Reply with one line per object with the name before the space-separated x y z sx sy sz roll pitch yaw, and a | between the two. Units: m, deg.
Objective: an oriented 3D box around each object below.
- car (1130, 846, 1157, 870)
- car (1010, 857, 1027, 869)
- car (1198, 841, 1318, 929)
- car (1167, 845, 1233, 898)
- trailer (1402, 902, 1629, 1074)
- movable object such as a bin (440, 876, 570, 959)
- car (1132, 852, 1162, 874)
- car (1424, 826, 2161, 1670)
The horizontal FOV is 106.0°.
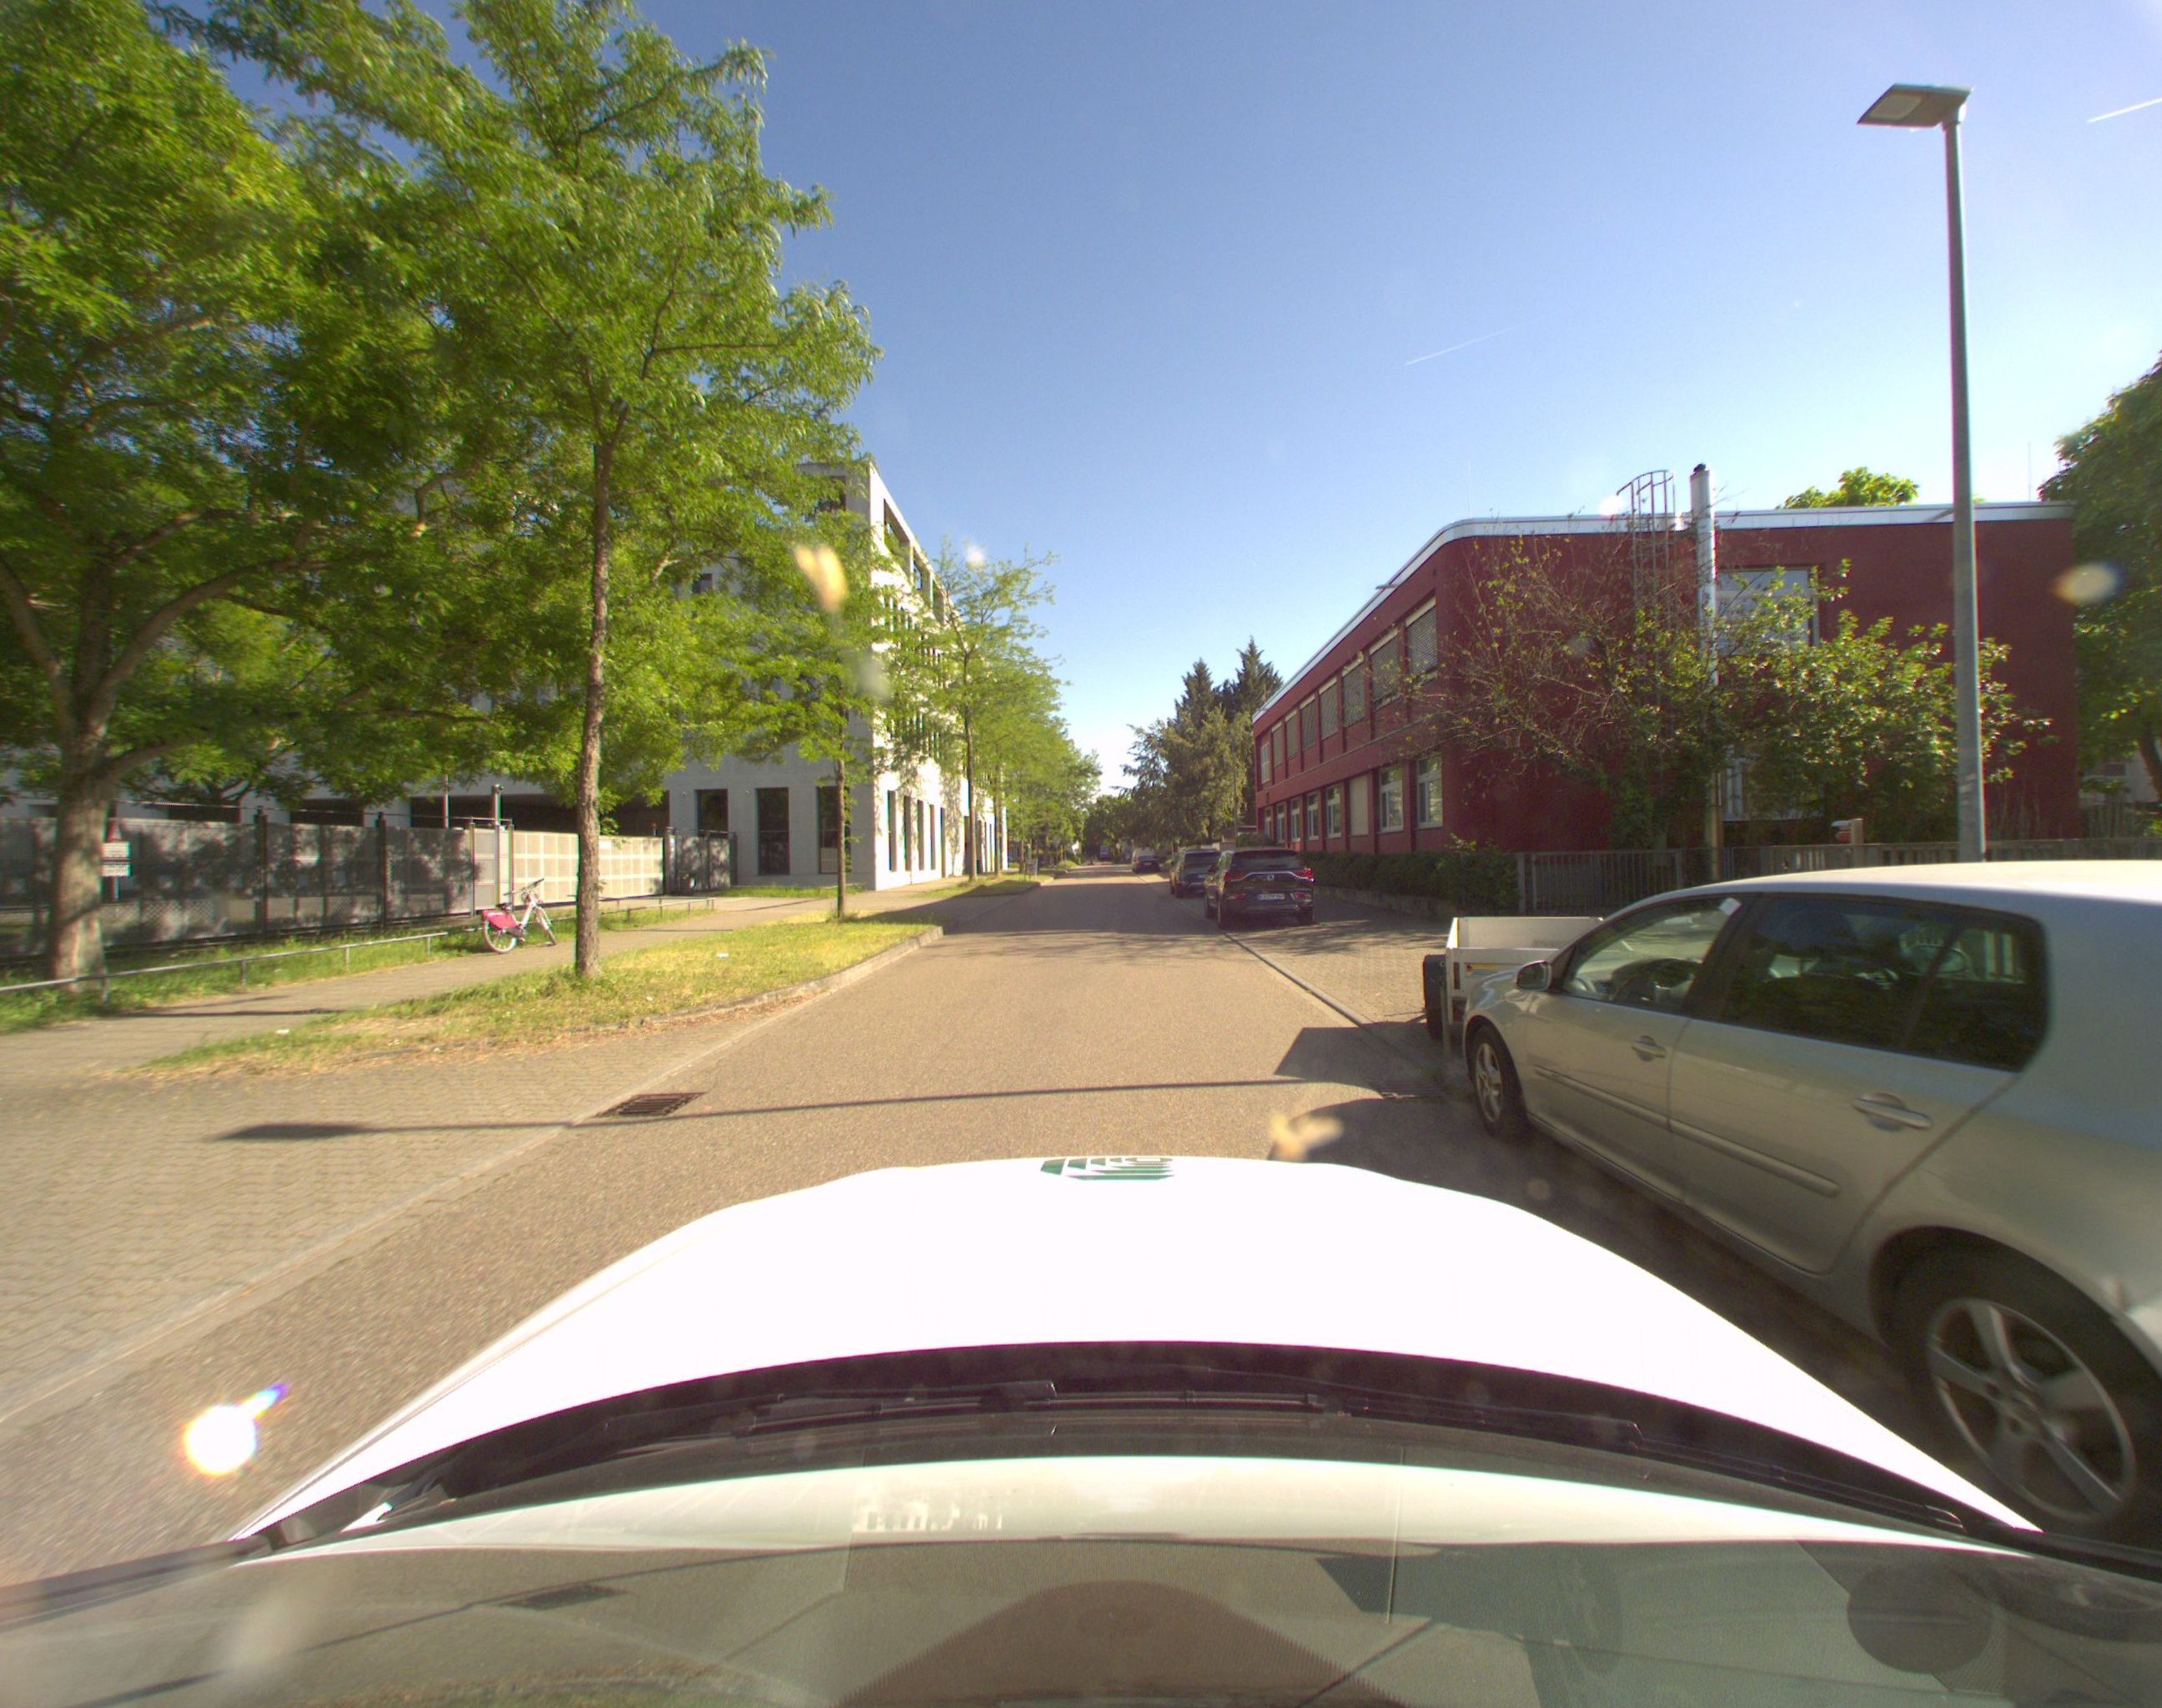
car | 5.126 0.321 67.010 1.986 1.834 4.002 -4 0 2
car | -7.936 1.130 103.399 1.900 1.342 3.791 -1 0 -1
car | 3.650 0.580 17.484 1.830 1.634 4.204 -1 0 3
car | 4.086 0.577 28.589 1.847 1.648 4.002 -2 0 2
trailer | 3.583 0.970 6.923 1.359 0.912 2.955 -1 0 26
movable object such as a bin | -9.300 0.988 13.260 0.660 1.181 1.936 -1 0 2
car | 4.948 0.643 61.273 1.986 1.442 4.002 -4 0 2
car | 2.883 0.709 3.064 1.653 1.561 3.937 -1 0 2
